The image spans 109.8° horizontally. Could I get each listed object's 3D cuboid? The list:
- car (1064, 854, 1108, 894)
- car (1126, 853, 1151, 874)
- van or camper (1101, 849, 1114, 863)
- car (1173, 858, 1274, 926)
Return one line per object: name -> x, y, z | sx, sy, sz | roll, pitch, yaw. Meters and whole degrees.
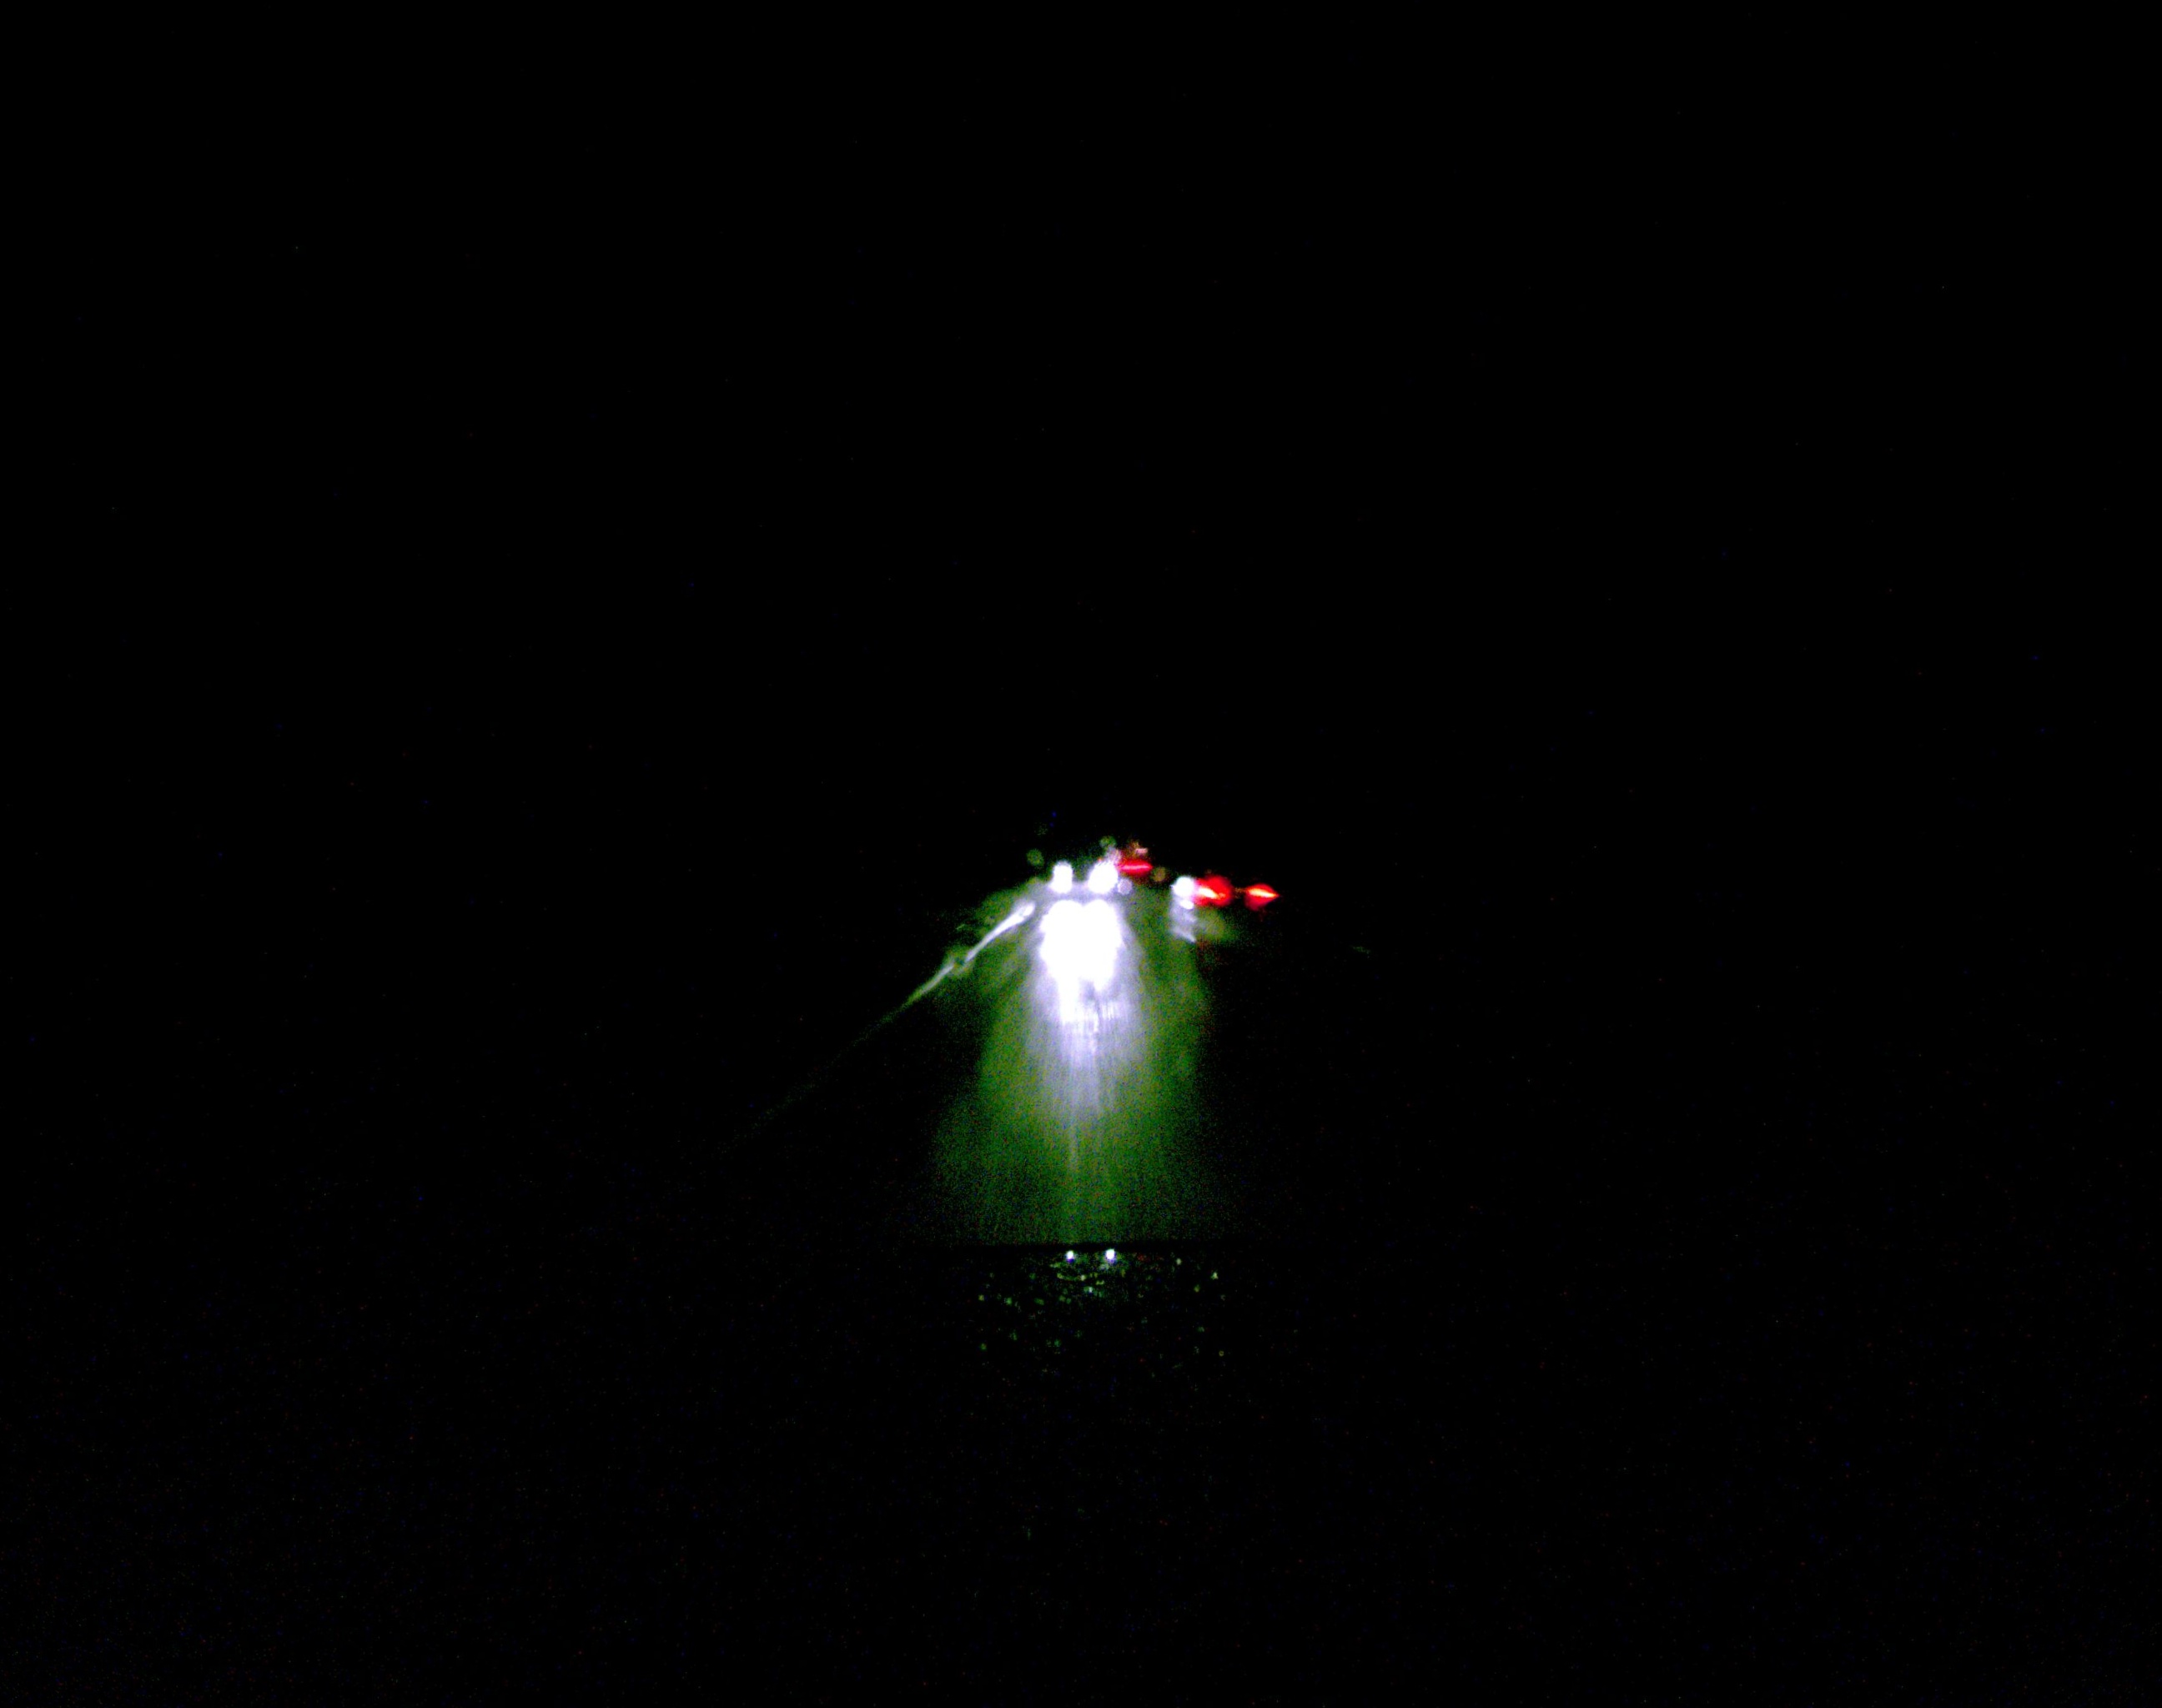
car -> 0.216, 0.845, 32.882 | 1.793, 1.593, 4.000 | 0, -1, 0
car -> 4.483, 0.720, 59.520 | 1.809, 1.618, 4.407 | 0, 0, 2
van or camper -> 4.993, 0.339, 145.642 | 2.129, 2.550, 5.783 | 1, 0, -1
car -> 3.539, 0.874, 19.621 | 1.769, 1.510, 4.490 | 1, 0, 0
